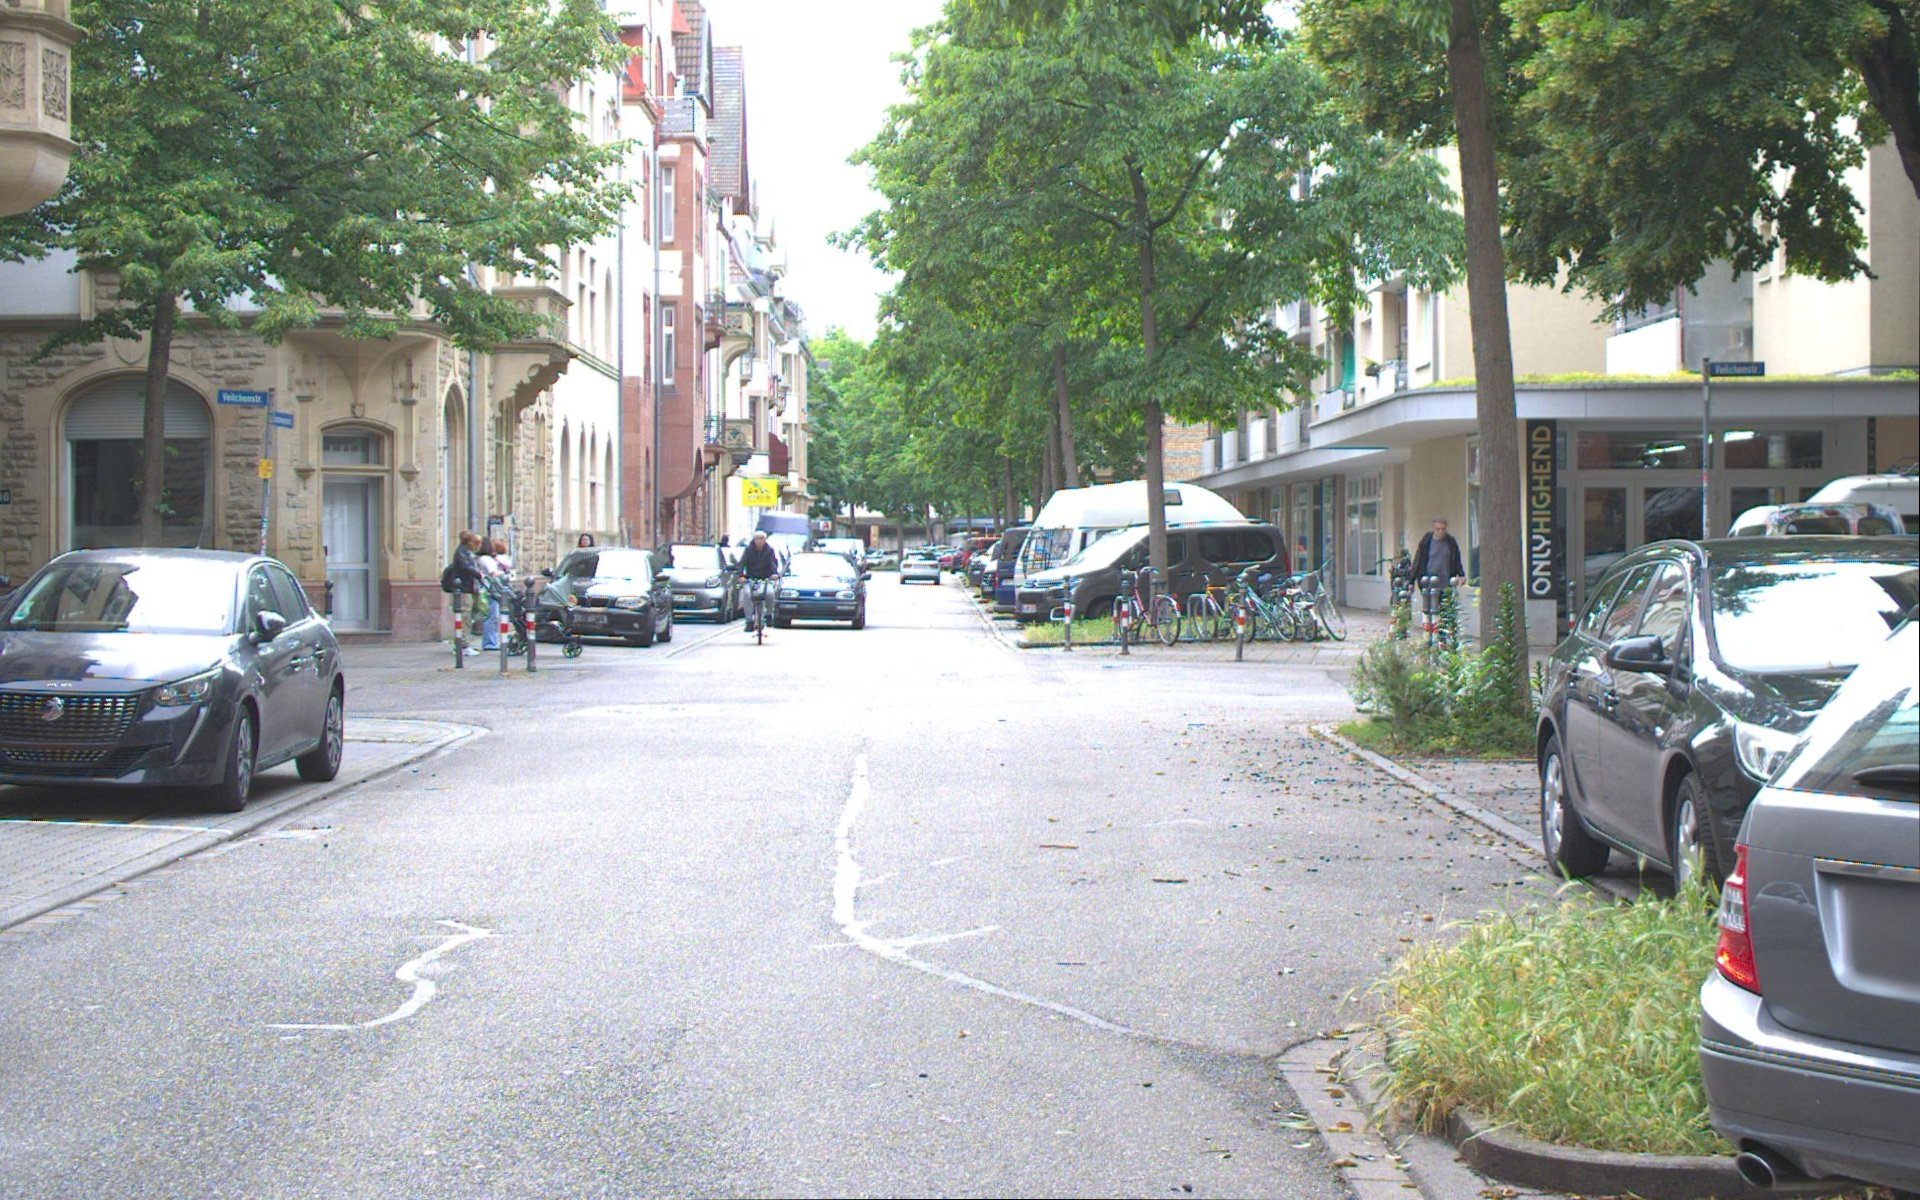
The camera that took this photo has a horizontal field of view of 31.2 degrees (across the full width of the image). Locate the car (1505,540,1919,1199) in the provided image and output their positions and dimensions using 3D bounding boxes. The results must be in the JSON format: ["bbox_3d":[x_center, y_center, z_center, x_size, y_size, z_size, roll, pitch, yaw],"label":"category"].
[{"bbox_3d":[3.308,0.536,6.915,4.432,1.422,1.758,-3,1,-38],"label":"car"}]

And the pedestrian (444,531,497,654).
[{"bbox_3d":[-6.574,-0.103,46.188,0.528,1.637,0.528,1,1,12],"label":"pedestrian"}]

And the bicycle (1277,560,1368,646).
[{"bbox_3d":[5.104,0.029,48.457,0.548,1.169,1.698,-1,1,-22],"label":"bicycle"}]

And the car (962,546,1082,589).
[{"bbox_3d":[2.261,-1.196,125.060,4.010,1.554,1.885,0,1,-31],"label":"car"}]

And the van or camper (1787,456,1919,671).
[{"bbox_3d":[13.097,-0.483,41.632,5.772,2.485,2.136,0,4,7],"label":"van or camper"}]

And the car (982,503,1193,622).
[{"bbox_3d":[2.473,-0.735,65.796,2.064,2.189,4.391,0,1,33],"label":"car"}]

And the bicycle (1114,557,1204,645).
[{"bbox_3d":[2.710,0.001,47.021,0.548,1.169,1.729,-1,1,-22],"label":"bicycle"}]

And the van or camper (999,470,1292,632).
[{"bbox_3d":[3.100,-0.827,57.018,4.582,2.587,1.911,-1,1,-33],"label":"van or camper"}]

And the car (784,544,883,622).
[{"bbox_3d":[-2.363,-0.310,64.749,1.708,1.408,3.852,-1,0,0],"label":"car"}]

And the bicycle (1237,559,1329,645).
[{"bbox_3d":[4.499,0.014,48.054,0.548,1.169,1.729,-1,1,-22],"label":"bicycle"}]

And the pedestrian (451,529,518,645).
[{"bbox_3d":[-6.583,-0.180,47.596,0.631,1.588,0.668,1,1,41],"label":"pedestrian"}]

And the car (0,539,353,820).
[{"bbox_3d":[-4.786,0.388,20.198,1.727,1.429,3.882,1,1,0],"label":"car"}]

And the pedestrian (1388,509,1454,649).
[{"bbox_3d":[5.947,-0.279,44.369,0.779,1.791,0.509,0,1,2],"label":"pedestrian"}]

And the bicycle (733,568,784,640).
[{"bbox_3d":[-3.109,0.055,53.107,0.634,1.090,1.799,0,0,2],"label":"bicycle"}]

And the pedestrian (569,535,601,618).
[{"bbox_3d":[-6.865,-0.440,62.999,0.515,1.513,0.546,0,1,0],"label":"pedestrian"}]

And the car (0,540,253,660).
[{"bbox_3d":[-11.285,-0.004,45.031,3.570,1.455,1.649,-1,3,9],"label":"car"}]

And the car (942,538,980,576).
[{"bbox_3d":[0.068,-2.447,195.513,1.993,2.007,4.000,3,1,-1],"label":"car"}]

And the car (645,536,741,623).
[{"bbox_3d":[-5.122,-0.408,66.195,1.646,1.565,2.957,1,2,-1],"label":"car"}]

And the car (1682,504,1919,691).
[{"bbox_3d":[8.727,-0.058,35.634,1.770,1.813,4.000,0,1,2],"label":"car"}]

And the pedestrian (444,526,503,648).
[{"bbox_3d":[-6.628,-0.182,46.831,0.616,1.637,0.603,1,1,12],"label":"pedestrian"}]

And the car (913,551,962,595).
[{"bbox_3d":[-0.933,-1.141,146.616,1.993,1.788,4.000,1,0,0],"label":"car"}]

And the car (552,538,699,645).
[{"bbox_3d":[-4.954,-0.117,51.370,1.709,1.489,4.000,1,0,1],"label":"car"}]

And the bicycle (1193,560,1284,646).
[{"bbox_3d":[3.862,0.030,47.786,0.548,1.169,1.729,-1,1,-22],"label":"bicycle"}]

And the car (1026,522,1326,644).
[{"bbox_3d":[3.415,-0.300,54.326,4.331,1.847,1.911,-1,1,-25],"label":"car"}]

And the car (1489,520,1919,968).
[{"bbox_3d":[3.411,0.441,13.932,1.764,1.481,4.480,-2,1,0],"label":"car"}]

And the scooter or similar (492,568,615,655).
[{"bbox_3d":[-5.472,0.153,46.293,1.470,1.100,0.675,2,1,11],"label":"scooter or similar"}]

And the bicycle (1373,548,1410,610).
[{"bbox_3d":[7.613,-0.377,60.731,0.484,1.086,1.701,0,1,2],"label":"bicycle"}]

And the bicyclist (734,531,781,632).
[{"bbox_3d":[-3.129,-0.291,53.107,0.647,1.533,0.677,-1,1,2],"label":"bicyclist"}]

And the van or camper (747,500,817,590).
[{"bbox_3d":[-5.808,-1.830,112.428,2.008,2.642,5.317,0,4,0],"label":"van or camper"}]

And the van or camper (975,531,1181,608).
[{"bbox_3d":[3.146,-0.817,91.268,5.005,1.863,2.127,-2,1,-28],"label":"van or camper"}]
